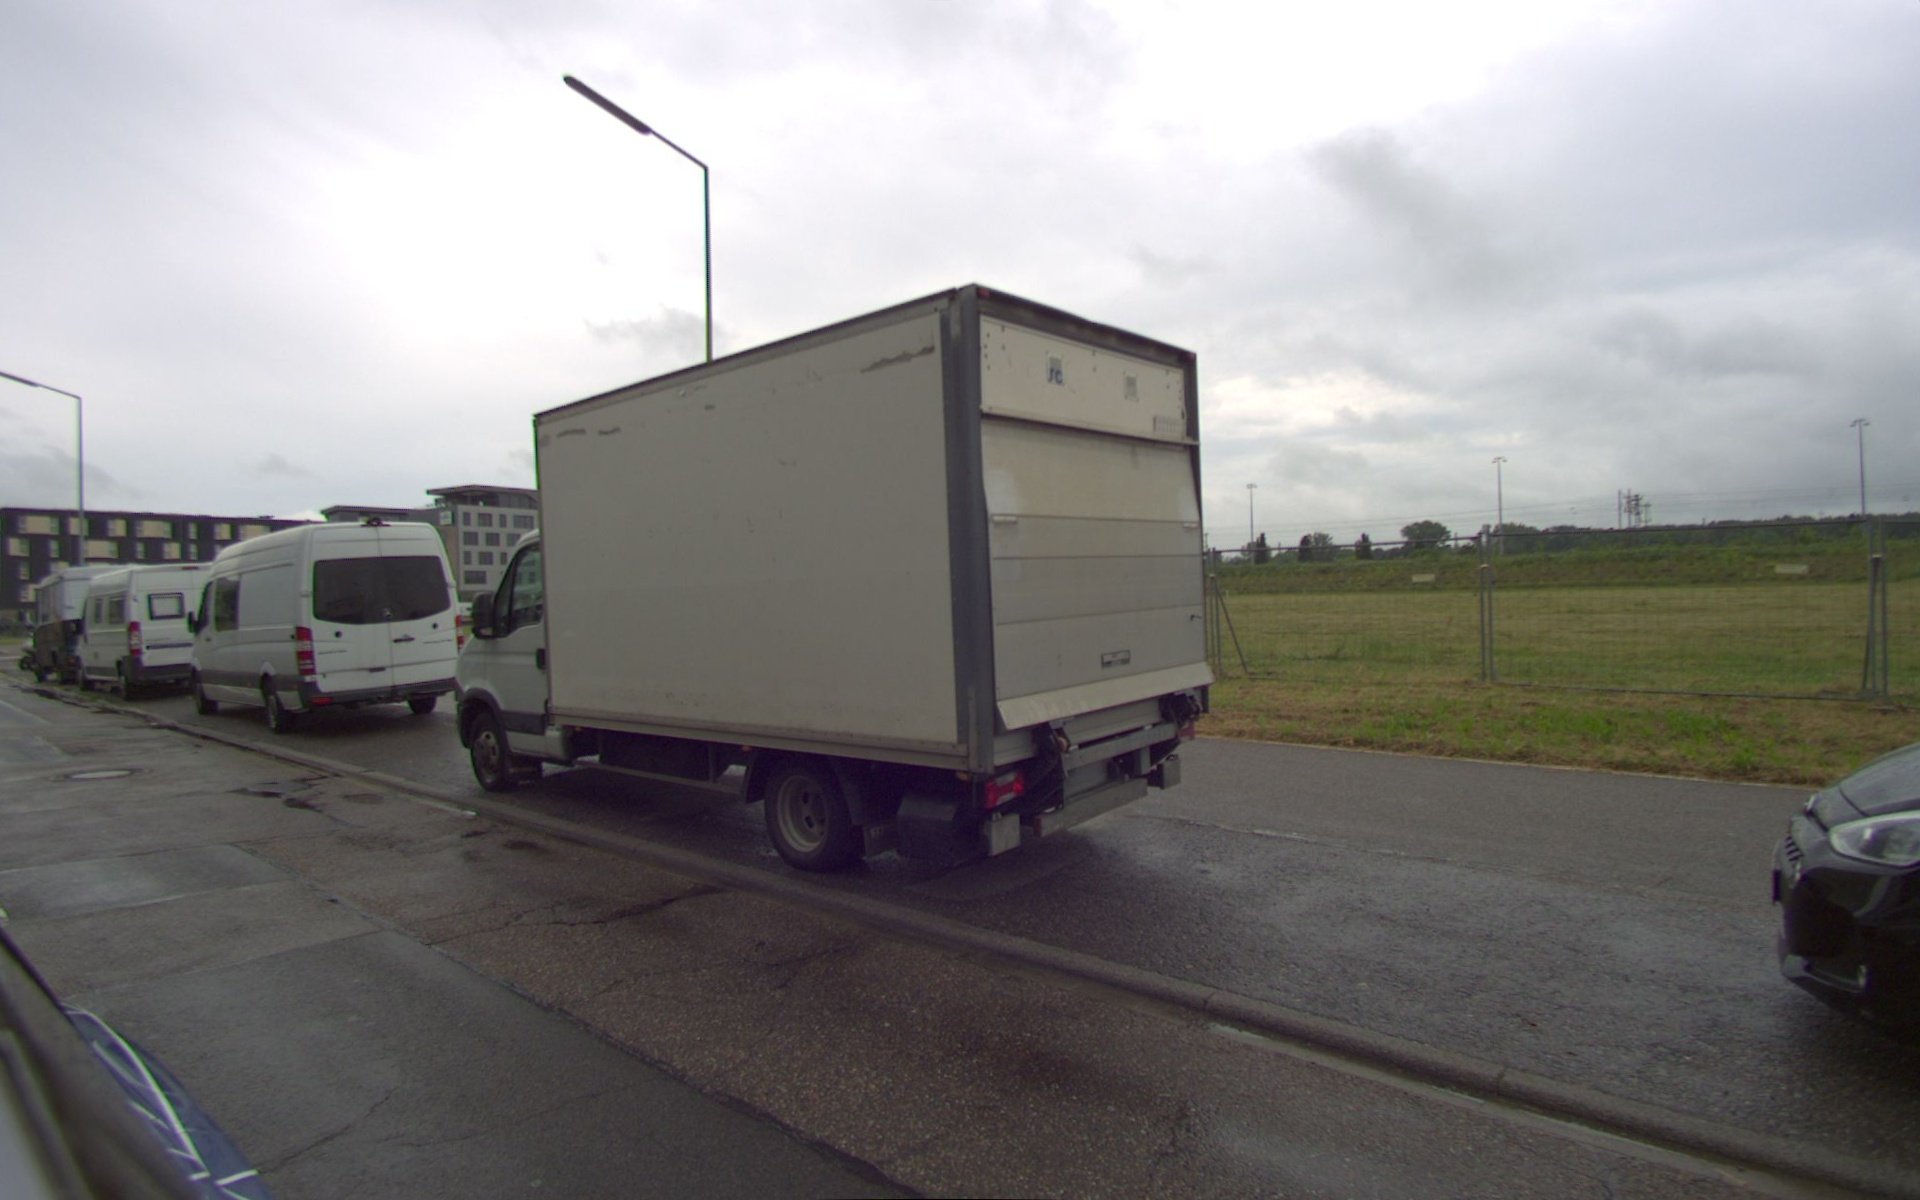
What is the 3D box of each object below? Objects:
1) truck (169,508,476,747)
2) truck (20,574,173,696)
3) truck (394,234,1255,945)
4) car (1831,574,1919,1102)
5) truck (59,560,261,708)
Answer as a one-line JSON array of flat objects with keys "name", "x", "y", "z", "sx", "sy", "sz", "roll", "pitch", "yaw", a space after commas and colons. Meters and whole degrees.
[{"name": "truck", "x": -9.567, "y": 0.361, "z": 14.824, "sx": 6.736, "sy": 2.787, "sz": 2.019, "roll": -2, "pitch": 1, "yaw": 43}, {"name": "truck", "x": -21.948, "y": 0.839, "z": 25.637, "sx": 5.287, "sy": 2.767, "sz": 2.152, "roll": -2, "pitch": 0, "yaw": 41}, {"name": "truck", "x": -1.540, "y": -0.009, "z": 7.516, "sx": 6.696, "sy": 3.091, "sz": 2.411, "roll": -2, "pitch": 1, "yaw": 41}, {"name": "car", "x": 4.642, "y": 0.609, "z": 2.180, "sx": 4.155, "sy": 1.474, "sz": 1.655, "roll": -2, "pitch": 0, "yaw": 41}, {"name": "truck", "x": -16.621, "y": 0.651, "z": 20.870, "sx": 6.129, "sy": 2.626, "sz": 2.152, "roll": -2, "pitch": 0, "yaw": 41}]
